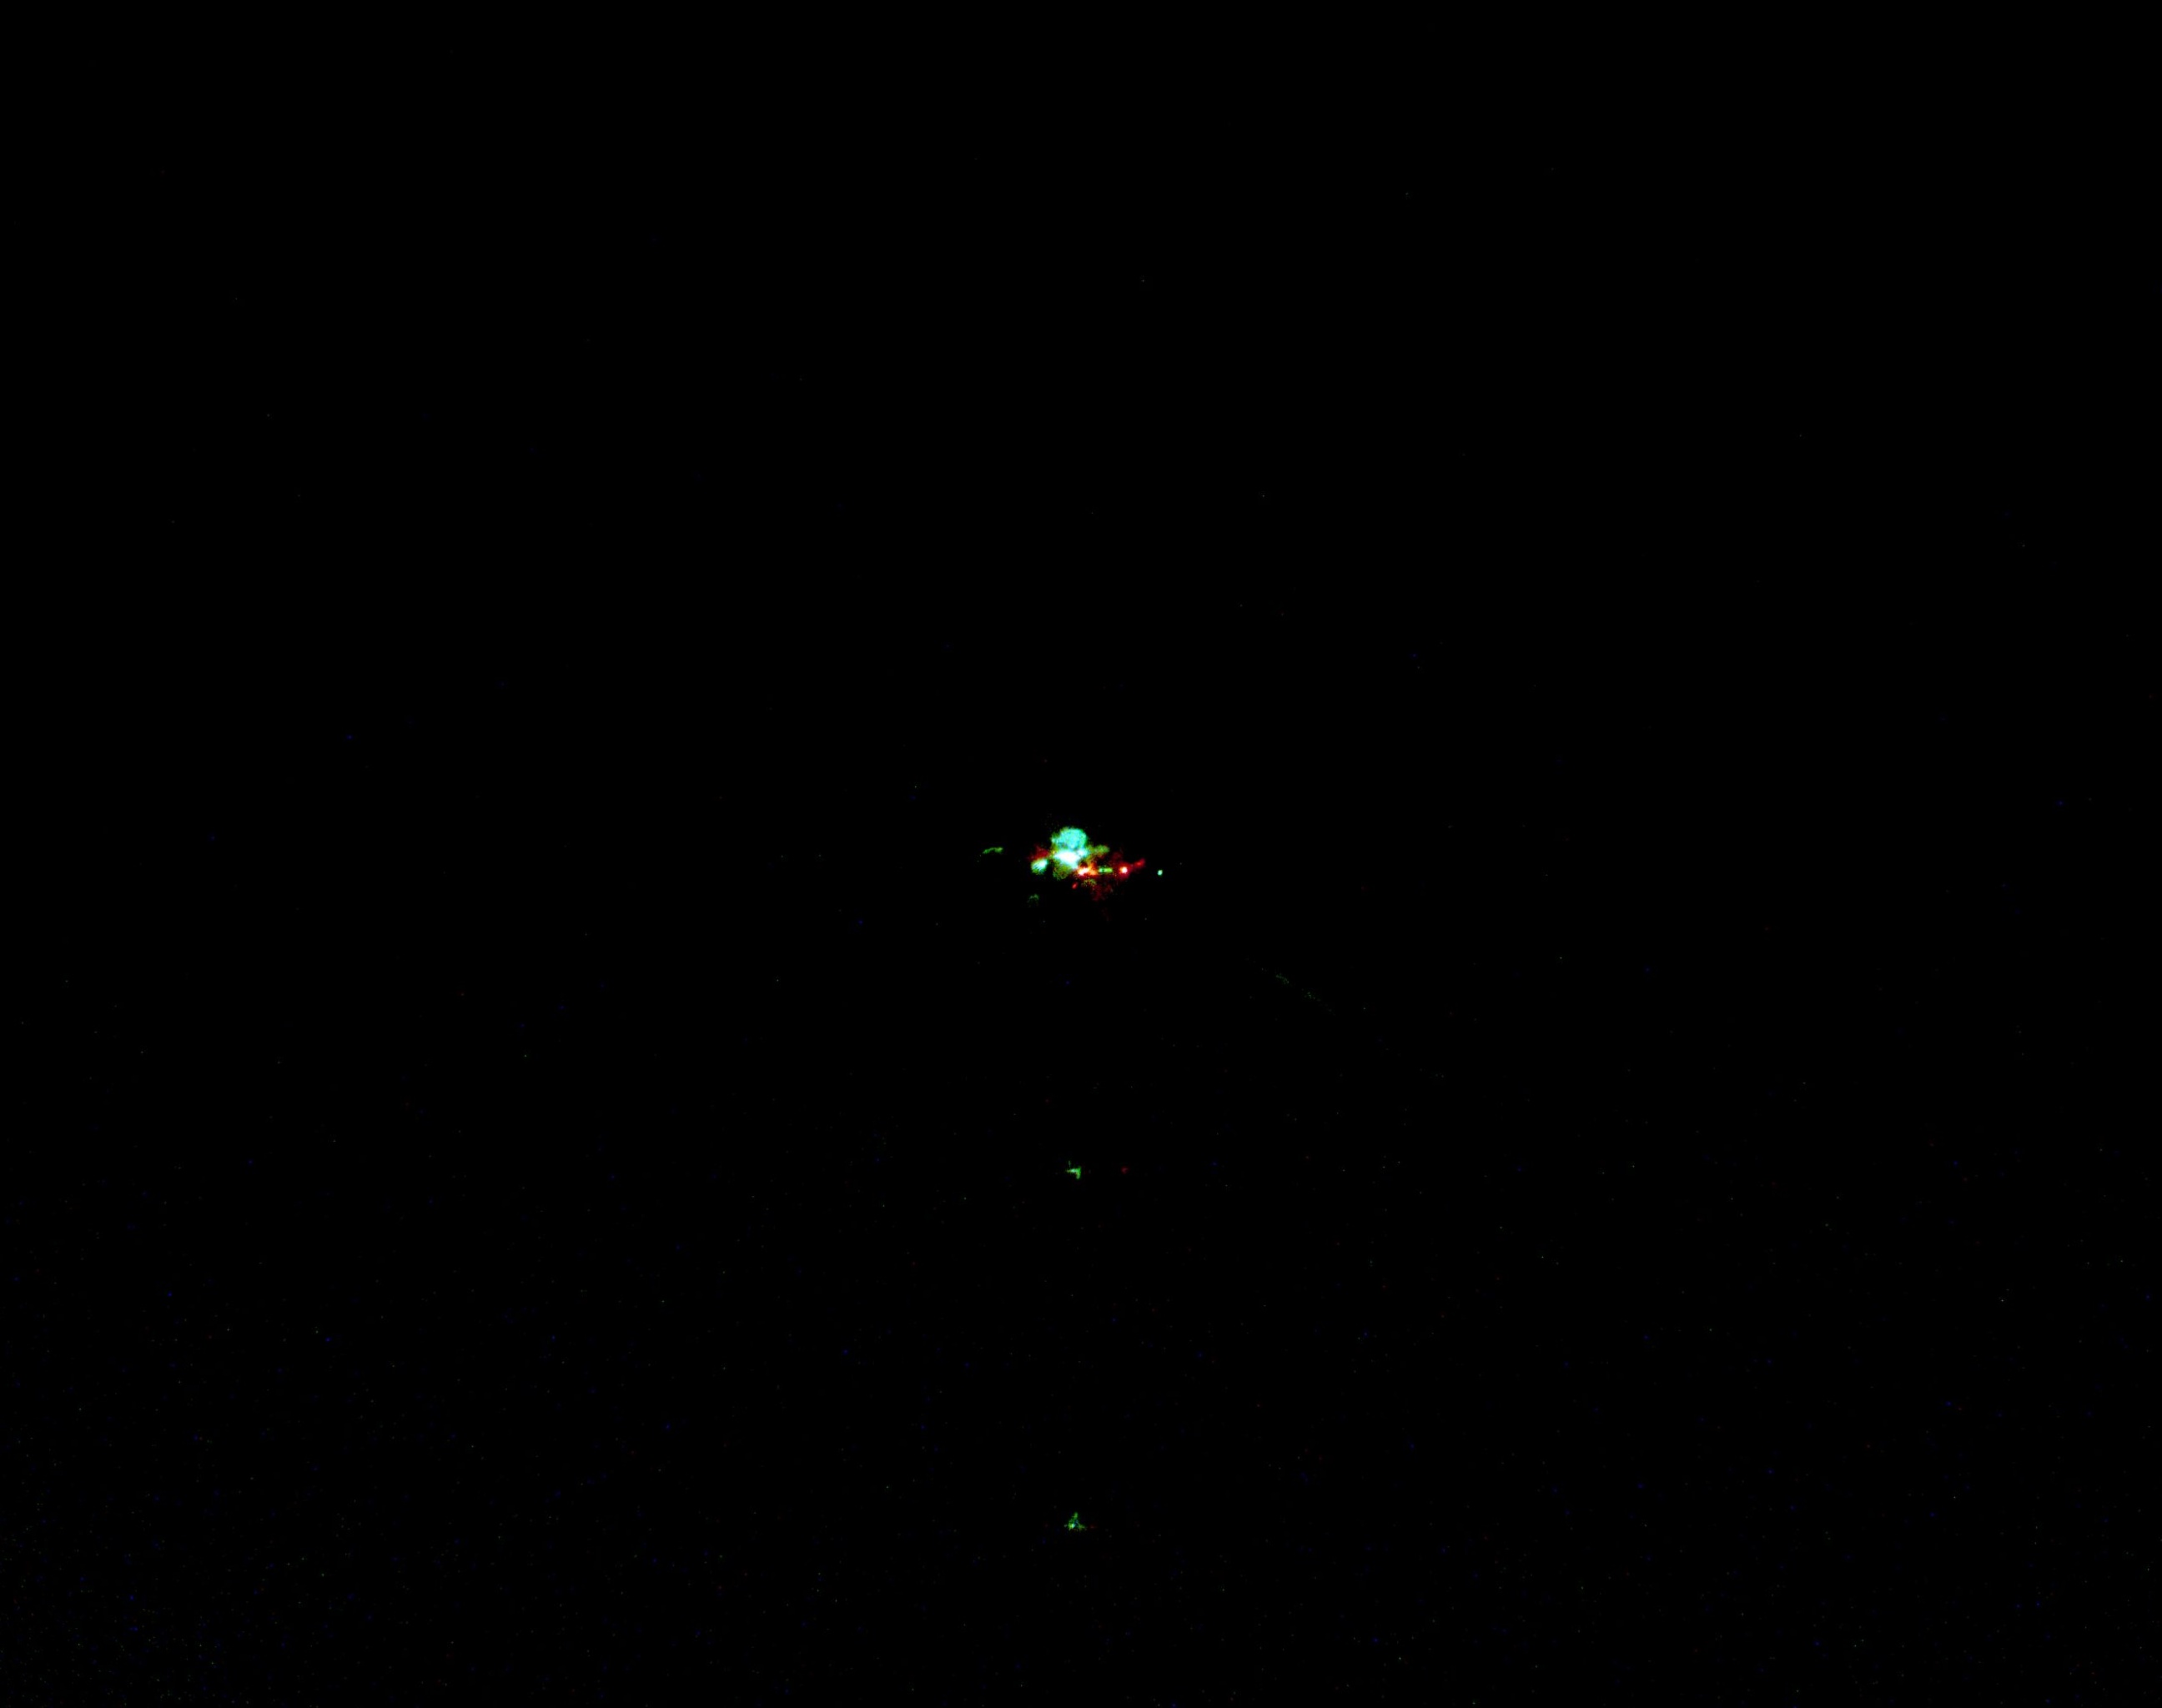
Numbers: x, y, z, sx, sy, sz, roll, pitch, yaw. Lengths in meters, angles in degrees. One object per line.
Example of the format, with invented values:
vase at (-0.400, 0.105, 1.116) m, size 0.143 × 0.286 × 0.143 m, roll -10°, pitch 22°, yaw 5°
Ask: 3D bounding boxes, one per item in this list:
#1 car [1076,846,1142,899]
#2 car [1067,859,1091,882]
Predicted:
car at (1.044, 0.744, 33.296) m, size 2.450 × 1.958 × 4.909 m, roll -1°, pitch -1°, yaw -1°
car at (-0.163, 1.450, 71.605) m, size 1.987 × 2.014 × 3.999 m, roll -1°, pitch -1°, yaw 0°
